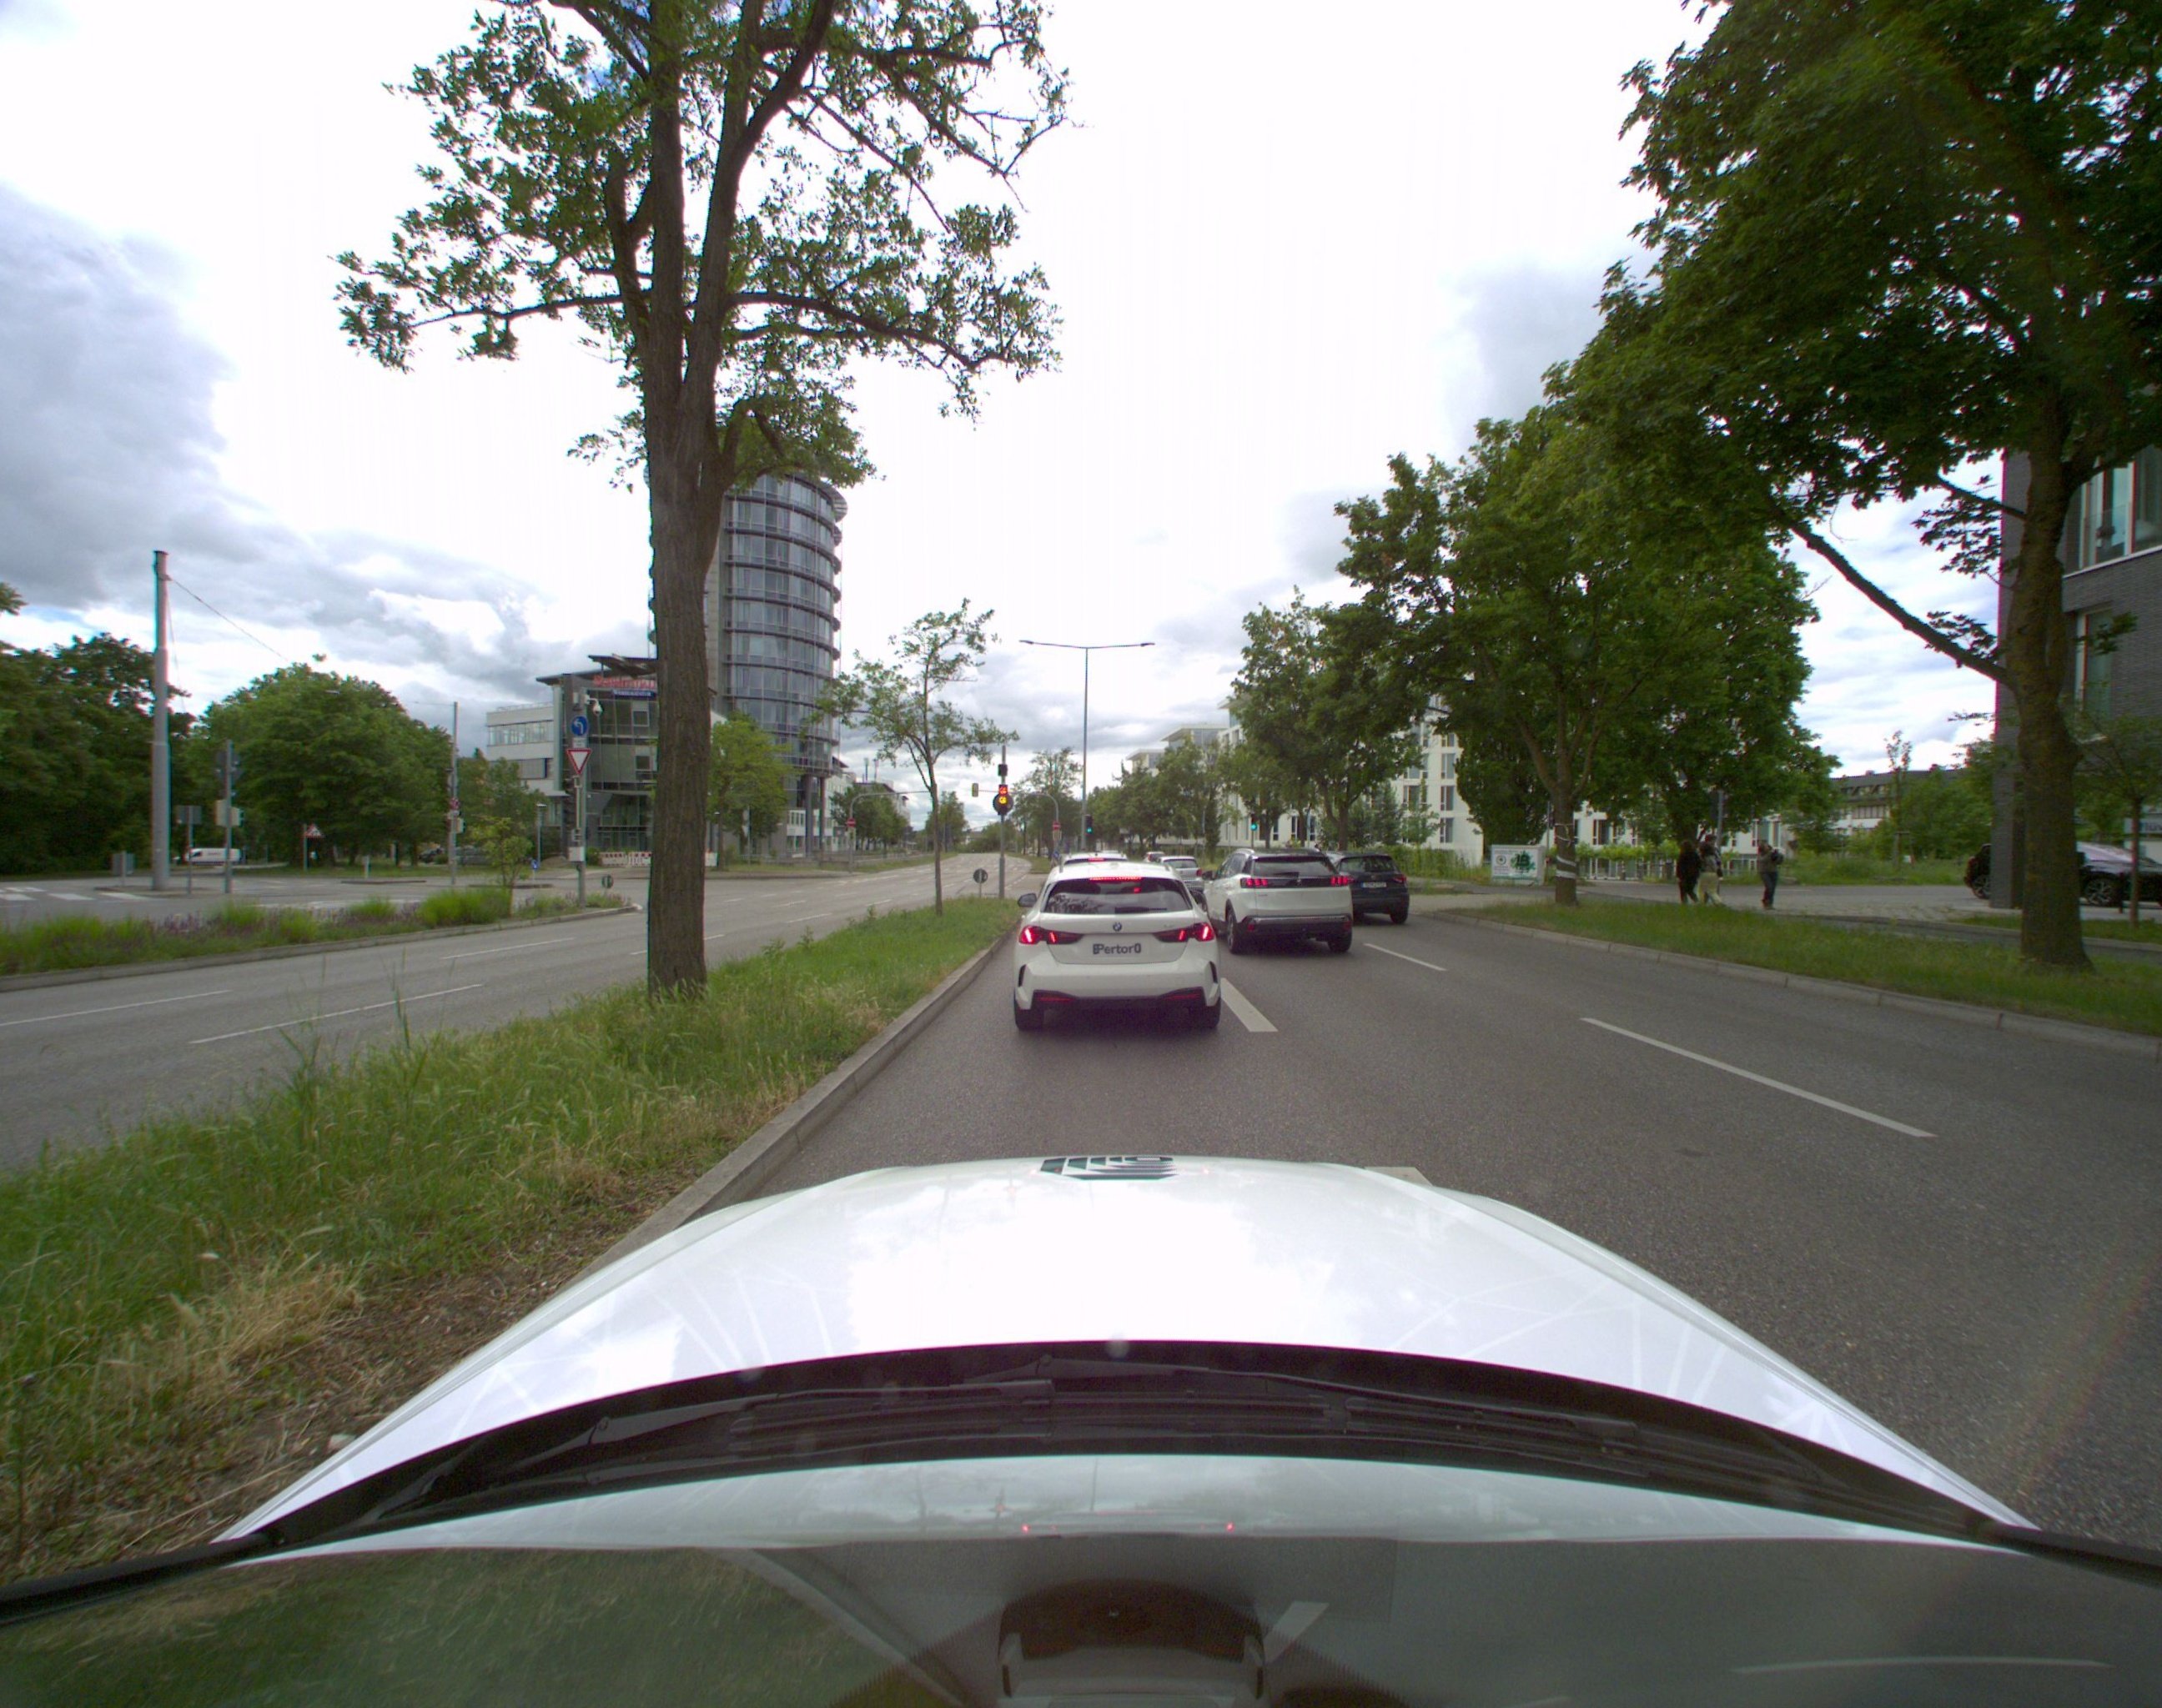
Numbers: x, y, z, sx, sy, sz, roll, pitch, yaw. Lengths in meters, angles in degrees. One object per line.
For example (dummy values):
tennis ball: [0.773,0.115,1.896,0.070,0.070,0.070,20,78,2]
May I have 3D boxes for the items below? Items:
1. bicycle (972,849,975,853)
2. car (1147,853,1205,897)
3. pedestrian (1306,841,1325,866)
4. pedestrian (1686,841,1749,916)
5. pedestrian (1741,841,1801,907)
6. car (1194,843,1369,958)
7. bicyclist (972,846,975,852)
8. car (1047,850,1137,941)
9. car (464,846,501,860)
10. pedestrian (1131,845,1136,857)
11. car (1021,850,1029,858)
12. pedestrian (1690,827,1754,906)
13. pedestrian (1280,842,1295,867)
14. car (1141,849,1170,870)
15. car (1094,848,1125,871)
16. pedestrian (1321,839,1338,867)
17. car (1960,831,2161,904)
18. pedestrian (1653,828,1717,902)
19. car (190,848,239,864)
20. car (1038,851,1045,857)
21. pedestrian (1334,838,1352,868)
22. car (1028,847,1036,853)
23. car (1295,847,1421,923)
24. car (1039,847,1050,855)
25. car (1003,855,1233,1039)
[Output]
bicycle: [-29.815,-0.898,225.612,0.810,1.104,2.547,0,-1,-11]
car: [3.310,0.710,28.950,1.600,1.468,3.674,0,0,-1]
pedestrian: [13.479,-0.034,46.833,0.786,1.448,1.112,0,-1,1]
pedestrian: [14.648,0.548,18.762,0.774,1.660,0.954,0,0,7]
pedestrian: [16.653,0.469,19.675,0.825,1.557,0.880,0,0,18]
car: [3.135,0.657,13.653,1.849,1.596,4.313,-1,0,0]
bicyclist: [-29.831,-1.262,225.701,0.811,1.653,1.184,0,-1,-11]
car: [0.249,0.712,15.973,1.544,1.569,4.002,0,0,2]
car: [-37.361,-0.063,50.872,0.766,0.876,1.730,0,0,38]
pedestrian: [8.876,-0.427,137.970,0.763,2.014,0.751,0,-1,-13]
car: [-13.803,0.015,200.637,1.692,1.717,3.993,0,-1,-4]
pedestrian: [15.664,0.291,19.927,0.952,1.868,0.983,0,0,17]
pedestrian: [12.947,0.014,51.025,0.739,1.574,0.674,0,-1,0]
car: [5.449,0.403,59.797,1.650,1.425,3.531,-1,0,-3]
car: [2.071,0.401,60.246,1.887,1.596,4.309,0,0,-3]
pedestrian: [14.273,-0.040,46.821,0.697,1.595,0.883,0,-1,1]
car: [24.898,0.297,20.223,1.749,1.646,4.151,0,0,2]
pedestrian: [13.945,0.242,18.831,0.791,1.660,1.061,0,0,7]
car: [-128.878,0.253,121.172,1.978,2.339,4.570,-1,-1,16]
car: [-9.805,0.089,200.890,1.690,1.486,3.686,0,0,-5]
pedestrian: [15.080,-0.045,46.836,0.764,1.685,0.883,0,-1,1]
car: [-13.659,-1.099,225.160,1.992,1.732,3.990,0,-1,-7]
car: [6.025,0.598,18.187,1.650,1.512,4.003,0,0,3]
car: [-7.990,-0.667,176.192,1.993,1.670,3.988,-2,0,-8]
car: [0.356,0.739,8.446,1.815,1.438,4.002,0,0,2]
